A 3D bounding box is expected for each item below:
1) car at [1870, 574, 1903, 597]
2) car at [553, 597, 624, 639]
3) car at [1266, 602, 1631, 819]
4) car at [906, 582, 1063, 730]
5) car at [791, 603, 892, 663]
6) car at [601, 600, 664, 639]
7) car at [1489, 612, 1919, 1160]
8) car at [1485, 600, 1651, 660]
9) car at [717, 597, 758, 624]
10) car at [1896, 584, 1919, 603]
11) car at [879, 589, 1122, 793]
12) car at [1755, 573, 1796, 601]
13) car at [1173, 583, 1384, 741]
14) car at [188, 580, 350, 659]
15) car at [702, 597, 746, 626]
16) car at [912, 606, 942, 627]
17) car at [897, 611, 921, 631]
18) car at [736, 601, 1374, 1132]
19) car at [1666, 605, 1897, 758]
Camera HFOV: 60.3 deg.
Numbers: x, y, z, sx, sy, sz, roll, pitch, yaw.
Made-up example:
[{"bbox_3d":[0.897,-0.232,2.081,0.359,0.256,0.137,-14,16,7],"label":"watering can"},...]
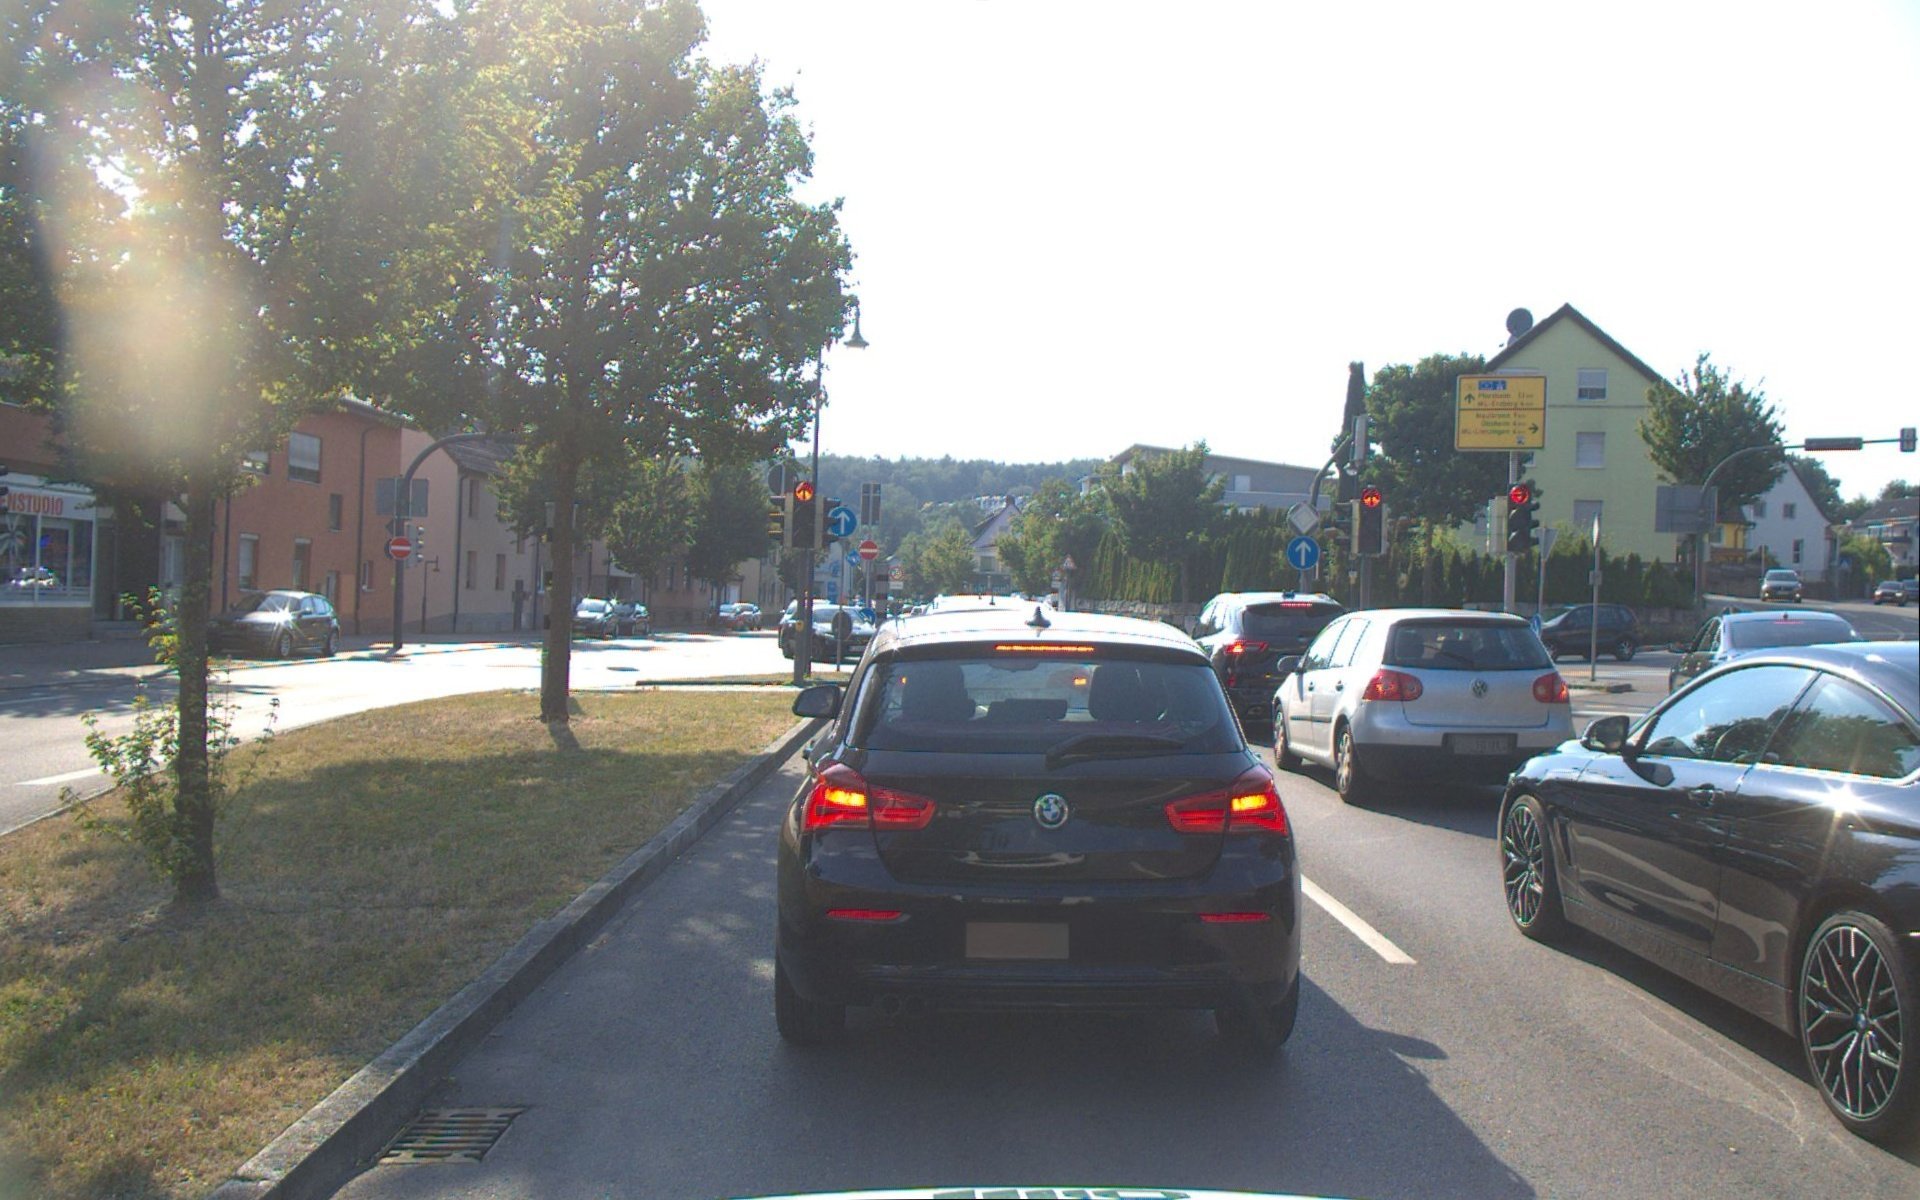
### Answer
[{"bbox_3d":[67.026,-1.044,119.668,1.745,1.607,3.987,1,0,34],"label":"car"},{"bbox_3d":[-14.997,0.705,66.977,1.884,1.624,4.000,1,0,1],"label":"car"},{"bbox_3d":[3.814,0.776,13.715,1.779,1.471,4.347,1,0,1],"label":"car"},{"bbox_3d":[0.311,0.641,21.054,1.779,1.670,4.242,1,0,1],"label":"car"},{"bbox_3d":[-3.216,0.846,44.108,1.739,1.484,3.979,1,0,-19],"label":"car"},{"bbox_3d":[-14.429,0.842,73.076,1.884,1.624,4.000,1,0,1],"label":"car"},{"bbox_3d":[3.456,0.783,5.917,1.779,1.413,4.347,1,0,1],"label":"car"},{"bbox_3d":[16.626,0.814,45.256,3.990,1.533,1.784,1,0,-16],"label":"car"},{"bbox_3d":[-13.769,0.654,102.592,1.884,1.624,4.000,1,0,1],"label":"car"},{"bbox_3d":[79.939,-0.541,139.229,1.744,1.607,3.990,1,0,32],"label":"car"},{"bbox_3d":[0.326,0.666,14.321,1.779,1.476,4.242,1,0,1],"label":"car"},{"bbox_3d":[37.720,-0.615,76.508,1.677,1.266,3.996,1,1,26],"label":"car"},{"bbox_3d":[3.767,0.672,20.262,1.779,1.695,4.347,1,0,1],"label":"car"},{"bbox_3d":[-15.517,0.410,37.376,1.805,1.579,4.001,3,0,2],"label":"car"},{"bbox_3d":[-13.815,0.665,97.086,1.884,1.624,4.000,1,0,1],"label":"car"},{"bbox_3d":[-2.563,1.264,126.656,1.826,1.511,4.652,1,0,-6],"label":"car"},{"bbox_3d":[-4.575,1.868,148.334,1.854,1.732,4.518,0,0,-6],"label":"car"},{"bbox_3d":[0.294,0.741,6.772,1.754,1.439,4.347,1,0,1],"label":"car"},{"bbox_3d":[9.035,0.797,18.534,1.646,1.460,4.591,1,0,18],"label":"car"}]
